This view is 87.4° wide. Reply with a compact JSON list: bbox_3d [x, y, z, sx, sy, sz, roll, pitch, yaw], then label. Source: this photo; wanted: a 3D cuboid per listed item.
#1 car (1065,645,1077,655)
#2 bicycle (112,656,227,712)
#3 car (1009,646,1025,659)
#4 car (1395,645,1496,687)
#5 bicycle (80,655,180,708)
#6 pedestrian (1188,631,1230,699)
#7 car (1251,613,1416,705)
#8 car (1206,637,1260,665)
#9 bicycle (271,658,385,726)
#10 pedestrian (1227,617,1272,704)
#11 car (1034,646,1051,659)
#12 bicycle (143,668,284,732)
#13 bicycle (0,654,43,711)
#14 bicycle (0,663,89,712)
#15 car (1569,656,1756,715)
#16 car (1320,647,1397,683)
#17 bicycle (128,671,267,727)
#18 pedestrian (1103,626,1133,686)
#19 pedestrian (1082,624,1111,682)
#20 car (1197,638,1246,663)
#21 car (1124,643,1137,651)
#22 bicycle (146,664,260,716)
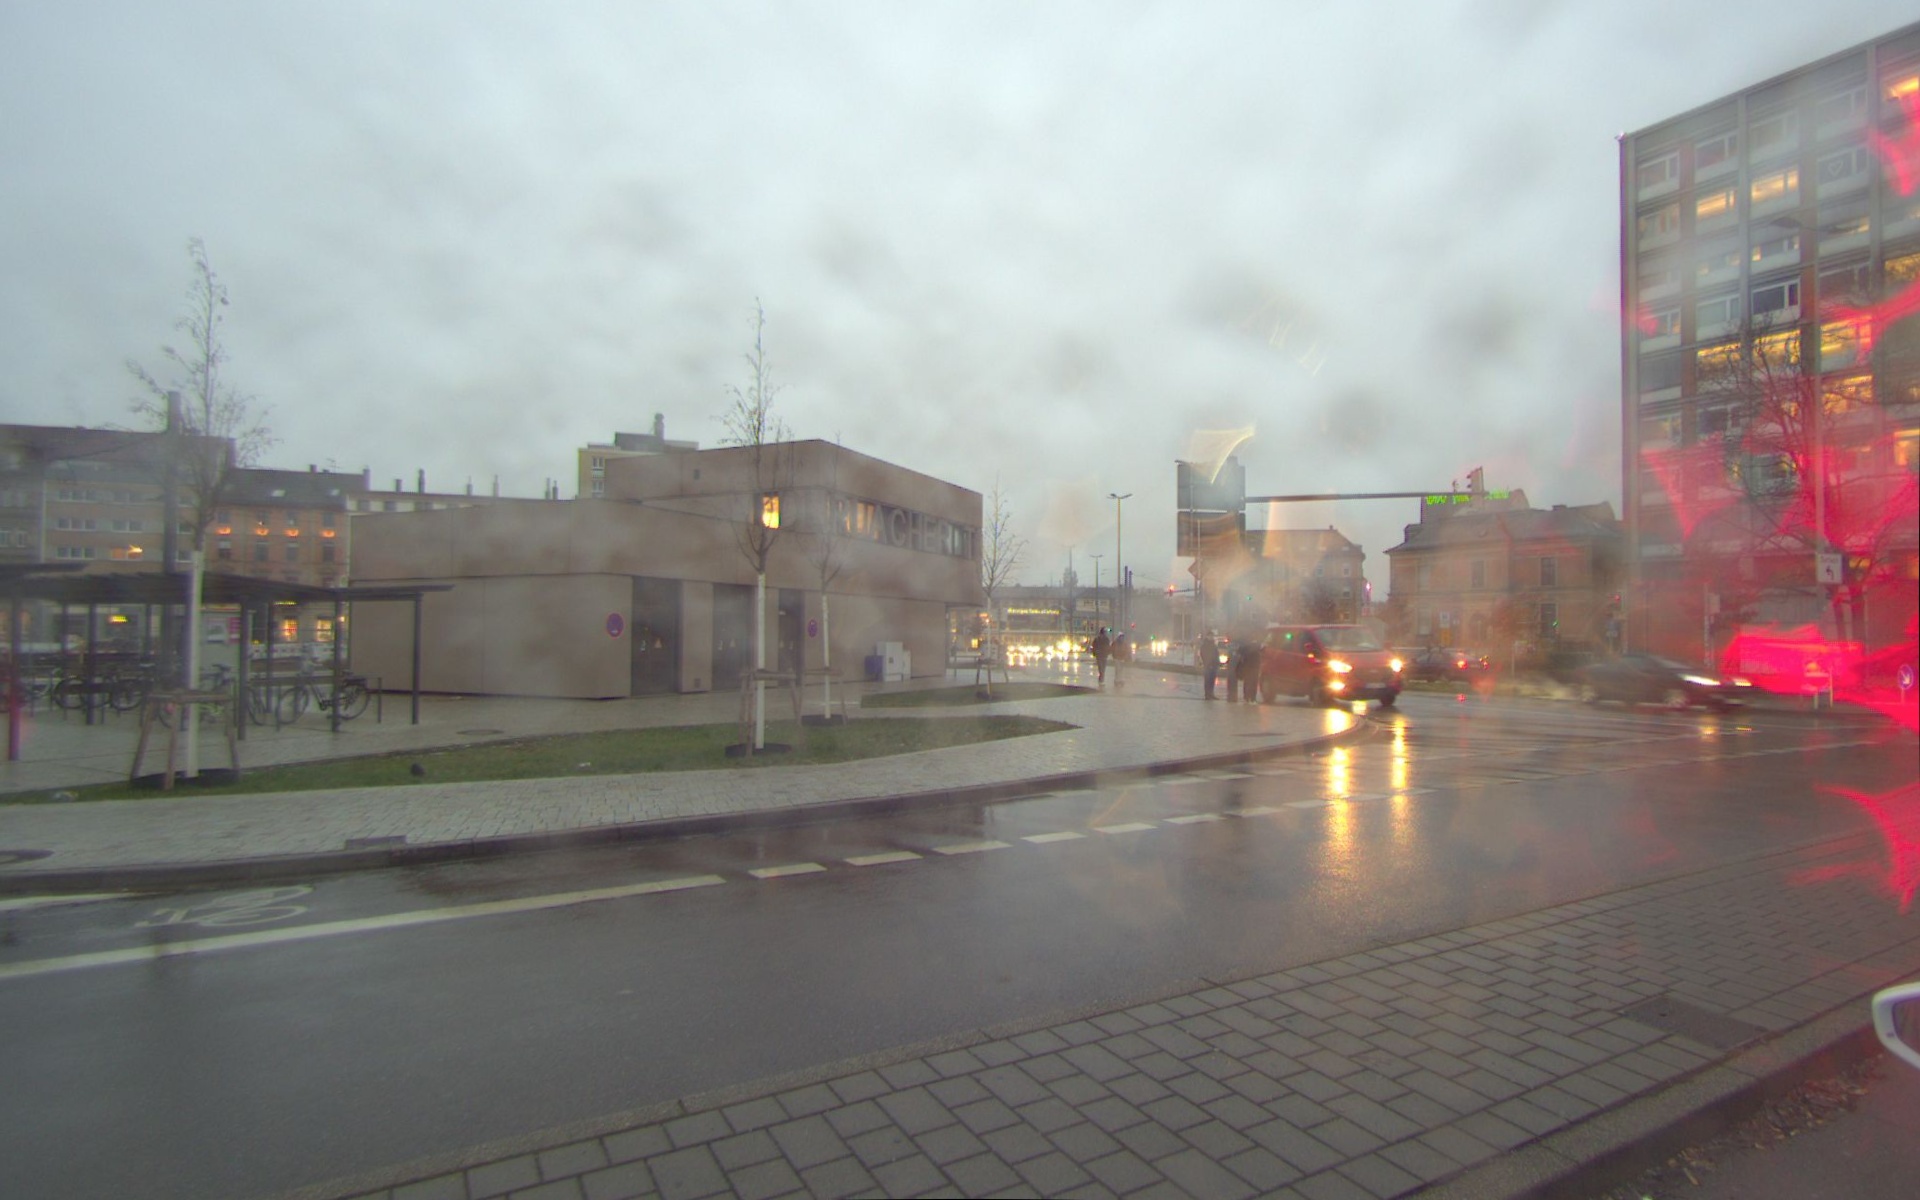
[{"bbox_3d":[16.569,7.493,150.190,1.749,1.529,4.003,-1,-2,7],"label":"car"},{"bbox_3d":[-16.525,1.740,21.045,0.466,1.087,1.830,1,-2,26],"label":"bicycle"},{"bbox_3d":[6.788,6.263,119.461,1.711,1.467,3.715,-1,-2,1],"label":"car"},{"bbox_3d":[21.556,2.911,44.790,1.798,1.589,3.984,2,0,-18],"label":"car"},{"bbox_3d":[-17.682,1.714,21.439,0.511,1.050,1.573,1,-2,19],"label":"bicycle"},{"bbox_3d":[6.593,1.709,26.631,0.838,1.778,0.659,0,-2,-14],"label":"pedestrian"},{"bbox_3d":[9.269,1.471,25.427,1.895,2.097,4.639,0,-3,-8],"label":"car"},{"bbox_3d":[19.630,3.658,72.356,3.514,1.850,1.672,2,0,8],"label":"car"},{"bbox_3d":[-11.745,1.679,18.725,0.605,1.172,1.755,1,-2,20],"label":"bicycle"},{"bbox_3d":[7.005,1.445,24.261,0.971,2.047,0.802,-1,-2,19],"label":"pedestrian"},{"bbox_3d":[9.900,6.287,121.106,1.775,1.496,4.595,1,-3,2],"label":"car"},{"bbox_3d":[-12.931,1.707,17.465,0.466,0.989,1.923,1,-2,29],"label":"bicycle"},{"bbox_3d":[-19.389,1.637,19.845,0.466,1.122,1.797,1,-2,29],"label":"bicycle"},{"bbox_3d":[-18.504,1.737,19.996,0.466,0.903,1.693,1,-2,24],"label":"bicycle"},{"bbox_3d":[17.600,2.108,25.377,1.671,1.319,3.759,1,-3,-12],"label":"car"},{"bbox_3d":[20.504,3.313,51.819,1.795,1.589,3.991,2,0,-11],"label":"car"},{"bbox_3d":[-13.582,1.741,17.957,0.466,0.903,1.923,1,-2,29],"label":"bicycle"},{"bbox_3d":[4.970,1.760,31.648,0.723,1.863,0.674,0,-2,-16],"label":"pedestrian"},{"bbox_3d":[4.260,1.650,31.424,0.731,1.793,0.546,0,-2,-16],"label":"pedestrian"},{"bbox_3d":[19.400,3.724,74.501,3.321,1.724,1.526,2,0,8],"label":"car"},{"bbox_3d":[32.451,8.971,191.198,1.705,1.529,4.000,-1,-2,20],"label":"car"},{"bbox_3d":[-15.175,1.782,20.180,0.466,0.968,1.767,1,-2,29],"label":"bicycle"}]
